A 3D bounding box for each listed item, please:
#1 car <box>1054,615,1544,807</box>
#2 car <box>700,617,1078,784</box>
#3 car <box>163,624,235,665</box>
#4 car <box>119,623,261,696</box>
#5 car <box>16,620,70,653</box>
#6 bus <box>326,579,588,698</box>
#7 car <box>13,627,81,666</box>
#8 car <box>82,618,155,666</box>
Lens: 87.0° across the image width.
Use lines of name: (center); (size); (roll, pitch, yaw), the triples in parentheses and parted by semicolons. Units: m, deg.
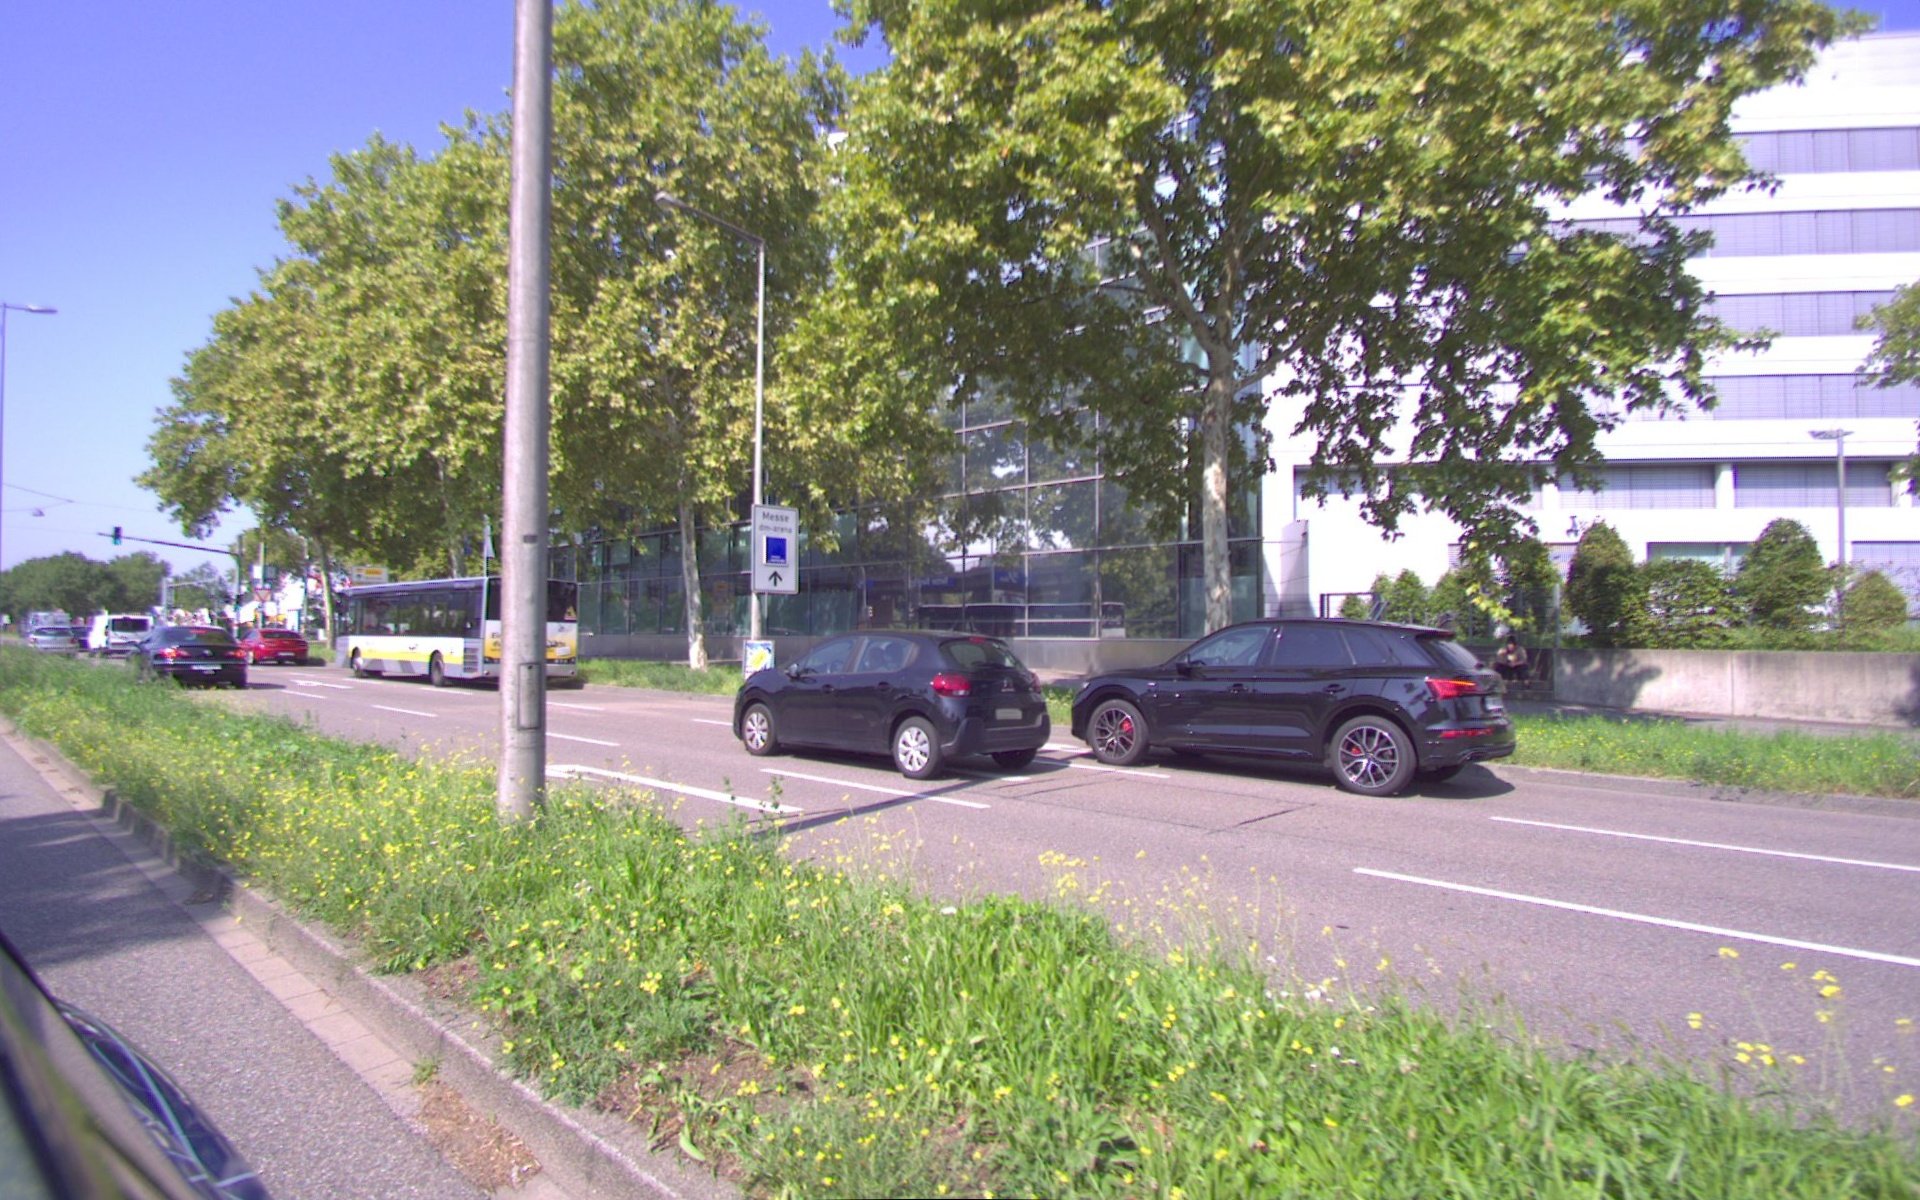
car: (3.380, 0.995, 10.778); (4.611, 1.617, 1.825); (-2, -2, 43)
car: (-0.945, 1.006, 11.241); (4.313, 1.501, 1.686); (-2, -5, 43)
car: (-36.730, 2.133, 48.819); (3.974, 1.910, 1.907); (-1, -4, 41)
car: (-17.847, 1.339, 23.377); (4.644, 1.501, 1.825); (-2, -4, 43)
car: (-58.017, 2.336, 63.996); (5.210, 1.973, 1.907); (-3, -4, 42)
bus: (-14.167, 1.039, 27.816); (10.904, 2.715, 2.633); (-1, -4, 43)
car: (-37.910, 1.961, 41.997); (4.100, 1.547, 1.597); (-3, -5, 42)
car: (-38.727, 1.908, 46.518); (5.190, 1.975, 1.906); (0, -3, 44)
